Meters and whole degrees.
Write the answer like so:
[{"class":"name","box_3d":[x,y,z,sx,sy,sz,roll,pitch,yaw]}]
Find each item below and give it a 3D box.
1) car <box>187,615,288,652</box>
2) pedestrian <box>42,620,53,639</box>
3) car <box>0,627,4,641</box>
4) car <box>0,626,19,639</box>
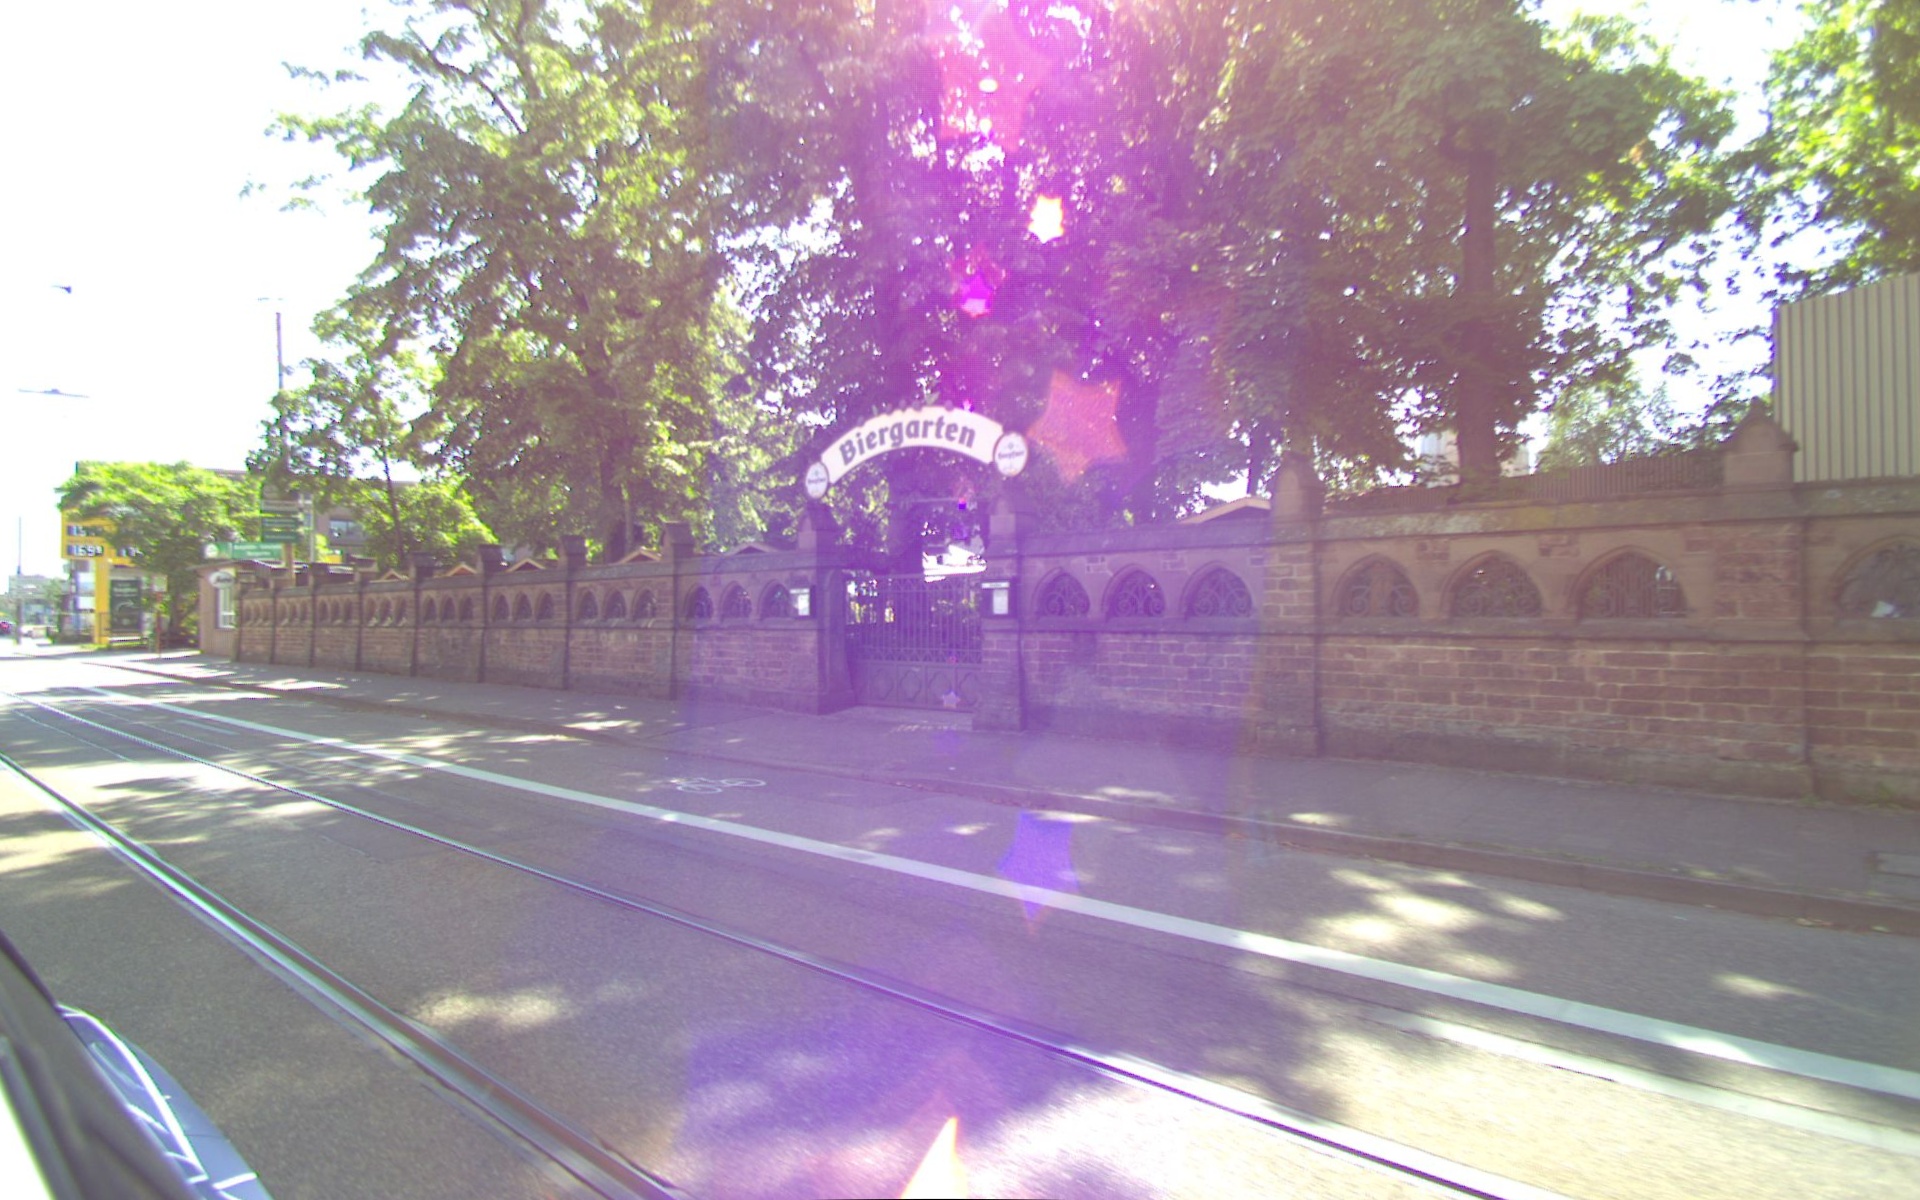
[{"class":"car","box_3d":[-34.612,1.565,48.655,1.920,1.637,4.584,-1,-1,-5]},{"class":"pedestrian","box_3d":[-90.619,2.909,100.507,0.834,1.833,0.840,0,-2,-41]},{"class":"car","box_3d":[-108.661,3.798,113.624,1.726,1.583,3.894,2,-2,-45]},{"class":"car","box_3d":[-126.689,4.343,134.927,1.691,1.634,3.583,-1,-1,-41]}]
